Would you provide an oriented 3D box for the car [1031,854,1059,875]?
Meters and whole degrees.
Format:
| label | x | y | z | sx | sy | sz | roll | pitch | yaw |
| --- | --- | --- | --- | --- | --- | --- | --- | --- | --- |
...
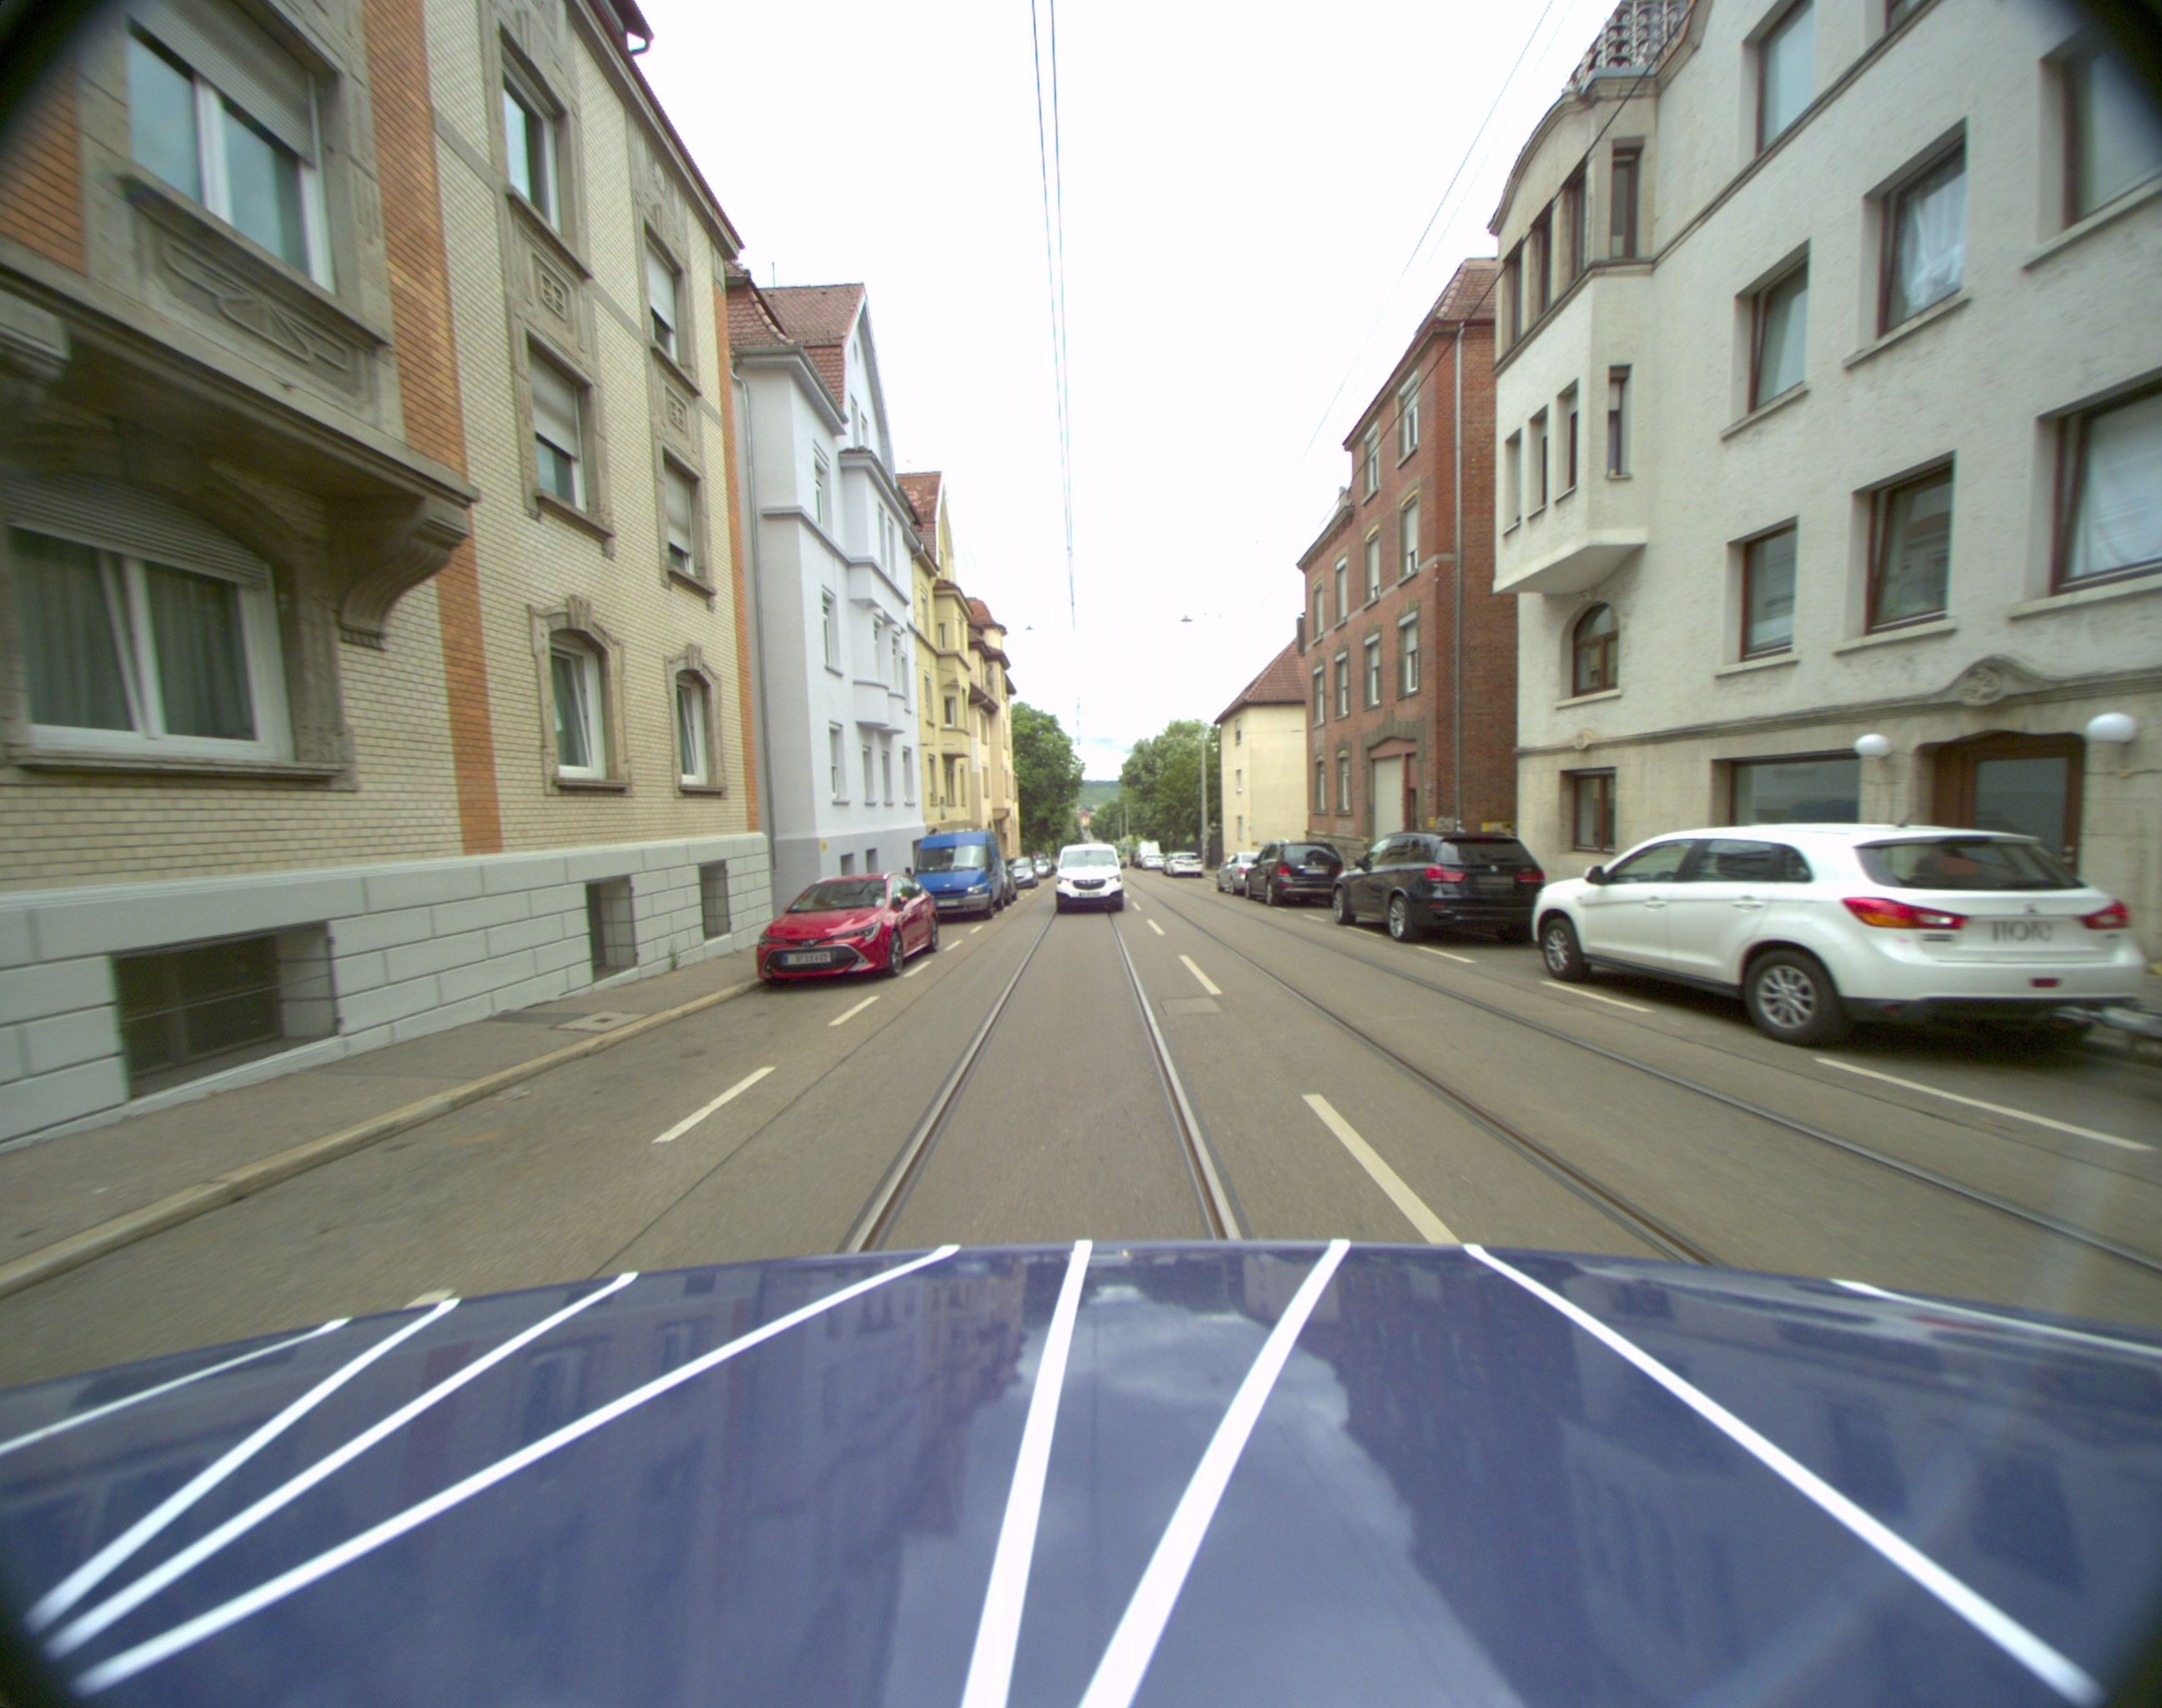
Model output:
| label | x | y | z | sx | sy | sz | roll | pitch | yaw |
| --- | --- | --- | --- | --- | --- | --- | --- | --- | --- |
| car | -2.808 | 0.824 | 59.817 | 1.844 | 1.395 | 4.166 | -4 | 1 | 1 |

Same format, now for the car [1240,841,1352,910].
| label | x | y | z | sx | sy | sz | roll | pitch | yaw |
| --- | --- | --- | --- | --- | --- | --- | --- | --- | --- |
| car | 5.841 | 0.530 | 21.245 | 1.832 | 1.708 | 4.913 | 0 | 0 | 1 |

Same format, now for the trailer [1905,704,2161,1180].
| label | x | y | z | sx | sy | sz | roll | pitch | yaw |
| --- | --- | --- | --- | --- | --- | --- | --- | --- | --- |
| trailer | 5.727 | 0.400 | 2.450 | 1.753 | 2.143 | 4.071 | 0 | 0 | 1 |

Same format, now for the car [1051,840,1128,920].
| label | x | y | z | sx | sy | sz | roll | pitch | yaw |
| --- | --- | --- | --- | --- | --- | --- | --- | --- | --- |
| car | 0.281 | 0.597 | 20.213 | 1.759 | 1.824 | 4.448 | -2 | 1 | 2 |

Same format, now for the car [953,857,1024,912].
| label | x | y | z | sx | sy | sz | roll | pitch | yaw |
| --- | --- | --- | --- | --- | --- | --- | --- | --- | --- |
| car | -3.063 | 0.965 | 25.974 | 1.784 | 1.522 | 4.191 | -6 | 1 | 0 |

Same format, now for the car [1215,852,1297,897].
| label | x | y | z | sx | sy | sz | roll | pitch | yaw |
| --- | --- | --- | --- | --- | --- | --- | --- | --- | --- |
| car | 5.952 | 0.647 | 26.416 | 1.832 | 1.420 | 4.839 | 0 | 0 | 1 |

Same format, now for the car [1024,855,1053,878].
| label | x | y | z | sx | sy | sz | roll | pitch | yaw |
| --- | --- | --- | --- | --- | --- | --- | --- | --- | --- |
| car | -2.960 | 0.860 | 53.409 | 1.699 | 1.396 | 3.667 | -4 | 0 | 1 |

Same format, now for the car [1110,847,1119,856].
| label | x | y | z | sx | sy | sz | roll | pitch | yaw |
| --- | --- | --- | --- | --- | --- | --- | --- | --- | --- |
| car | 7.446 | -0.650 | 168.452 | 1.901 | 1.935 | 4.290 | 0 | 1 | 1 |

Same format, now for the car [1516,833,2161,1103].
| label | x | y | z | sx | sy | sz | roll | pitch | yaw |
| --- | --- | --- | --- | --- | --- | --- | --- | --- | --- |
| car | 5.818 | 0.667 | 6.600 | 1.701 | 1.584 | 4.268 | 0 | 0 | 1 |

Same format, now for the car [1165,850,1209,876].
| label | x | y | z | sx | sy | sz | roll | pitch | yaw |
| --- | --- | --- | --- | --- | --- | --- | --- | --- | --- |
| car | 6.302 | 0.500 | 45.729 | 1.832 | 1.420 | 4.626 | 1 | 0 | -1 |

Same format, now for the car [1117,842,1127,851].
| label | x | y | z | sx | sy | sz | roll | pitch | yaw |
| --- | --- | --- | --- | --- | --- | --- | --- | --- | --- |
| car | 8.055 | -1.470 | 149.061 | 1.856 | 1.532 | 3.948 | -2 | 0 | 1 |

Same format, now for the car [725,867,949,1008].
| label | x | y | z | sx | sy | sz | roll | pitch | yaw |
| --- | --- | --- | --- | --- | --- | --- | --- | --- | --- |
| car | -3.368 | 1.065 | 11.556 | 1.784 | 1.466 | 4.589 | -4 | 1 | 1 |

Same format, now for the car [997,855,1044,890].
| label | x | y | z | sx | sy | sz | roll | pitch | yaw |
| --- | --- | --- | --- | --- | --- | --- | --- | --- | --- |
| car | -2.960 | 0.891 | 38.169 | 1.832 | 1.510 | 4.028 | -4 | 0 | 1 |

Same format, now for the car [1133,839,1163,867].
| label | x | y | z | sx | sy | sz | roll | pitch | yaw |
| --- | --- | --- | --- | --- | --- | --- | --- | --- | --- |
| car | 6.438 | -0.117 | 73.594 | 2.164 | 2.591 | 6.218 | 1 | 0 | -1 |

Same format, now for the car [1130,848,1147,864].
| label | x | y | z | sx | sy | sz | roll | pitch | yaw |
| --- | --- | --- | --- | --- | --- | --- | --- | --- | --- |
| car | 6.633 | 0.255 | 88.256 | 1.766 | 1.765 | 4.668 | 1 | 1 | 2 |

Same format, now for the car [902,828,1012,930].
| label | x | y | z | sx | sy | sz | roll | pitch | yaw |
| --- | --- | --- | --- | --- | --- | --- | --- | --- | --- |
| car | -3.203 | 0.560 | 20.735 | 1.998 | 2.363 | 5.055 | -2 | 1 | 1 |

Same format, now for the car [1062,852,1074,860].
| label | x | y | z | sx | sy | sz | roll | pitch | yaw |
| --- | --- | --- | --- | --- | --- | --- | --- | --- | --- |
| car | -2.371 | 0.377 | 141.773 | 1.863 | 1.434 | 4.388 | -5 | 1 | 1 |

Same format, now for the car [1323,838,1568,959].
| label | x | y | z | sx | sy | sz | roll | pitch | yaw |
| --- | --- | --- | --- | --- | --- | --- | --- | --- | --- |
| car | 5.750 | 0.603 | 12.834 | 1.878 | 1.654 | 4.892 | 0 | 0 | 1 |

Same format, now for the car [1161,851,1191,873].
| label | x | y | z | sx | sy | sz | roll | pitch | yaw |
| --- | --- | --- | --- | --- | --- | --- | --- | --- | --- |
| car | 6.288 | 0.522 | 50.499 | 1.604 | 1.360 | 3.807 | 1 | 0 | 2 |

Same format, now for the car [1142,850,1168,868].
| label | x | y | z | sx | sy | sz | roll | pitch | yaw |
| --- | --- | --- | --- | --- | --- | --- | --- | --- | --- |
| car | 6.163 | 0.418 | 63.521 | 1.723 | 1.395 | 4.313 | 1 | 0 | 1 |
